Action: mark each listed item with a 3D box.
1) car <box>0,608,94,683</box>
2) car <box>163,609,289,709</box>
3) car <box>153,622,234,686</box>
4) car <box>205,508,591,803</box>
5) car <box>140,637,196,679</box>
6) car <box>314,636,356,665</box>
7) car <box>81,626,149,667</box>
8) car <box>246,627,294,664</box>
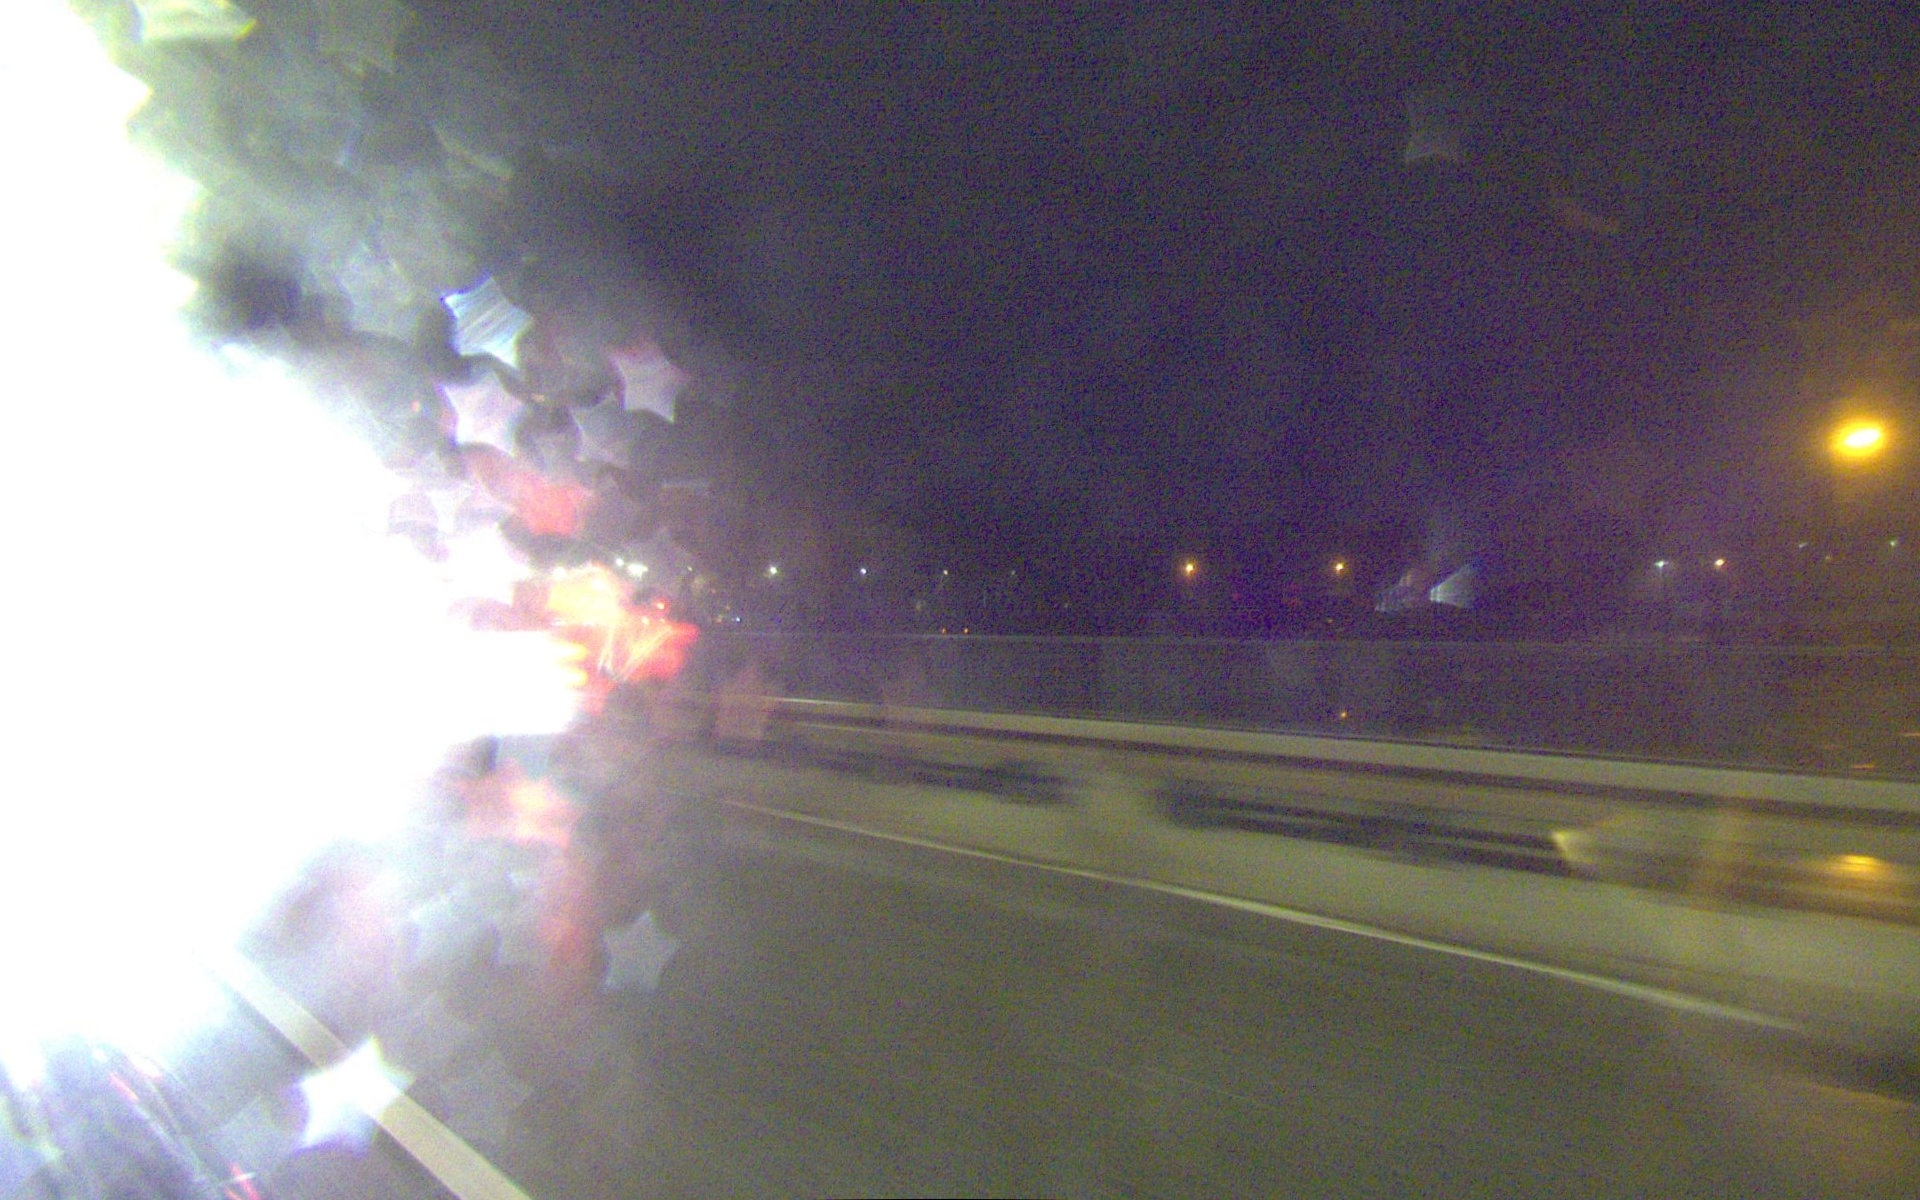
[{"bbox_3d":[-26.833,1.349,29.481,1.967,2.029,4.010,1,-4,-35],"label":"car"},{"bbox_3d":[-13.992,1.011,19.203,1.769,1.643,4.000,0,0,-38],"label":"car"},{"bbox_3d":[-22.339,1.506,29.519,1.755,1.717,4.323,1,-2,-37],"label":"car"},{"bbox_3d":[-5.787,0.454,10.050,2.020,2.186,5.157,1,-1,-45],"label":"car"},{"bbox_3d":[-38.937,2.828,49.835,1.284,1.539,3.057,-10,7,-24],"label":"car"},{"bbox_3d":[-49.694,4.031,80.541,1.629,2.028,4.011,-8,-2,-15],"label":"car"},{"bbox_3d":[-33.761,1.834,40.501,1.497,1.537,3.116,0,-2,-28],"label":"car"},{"bbox_3d":[-45.205,3.024,66.399,1.628,2.028,4.012,-8,-2,-23],"label":"car"}]
